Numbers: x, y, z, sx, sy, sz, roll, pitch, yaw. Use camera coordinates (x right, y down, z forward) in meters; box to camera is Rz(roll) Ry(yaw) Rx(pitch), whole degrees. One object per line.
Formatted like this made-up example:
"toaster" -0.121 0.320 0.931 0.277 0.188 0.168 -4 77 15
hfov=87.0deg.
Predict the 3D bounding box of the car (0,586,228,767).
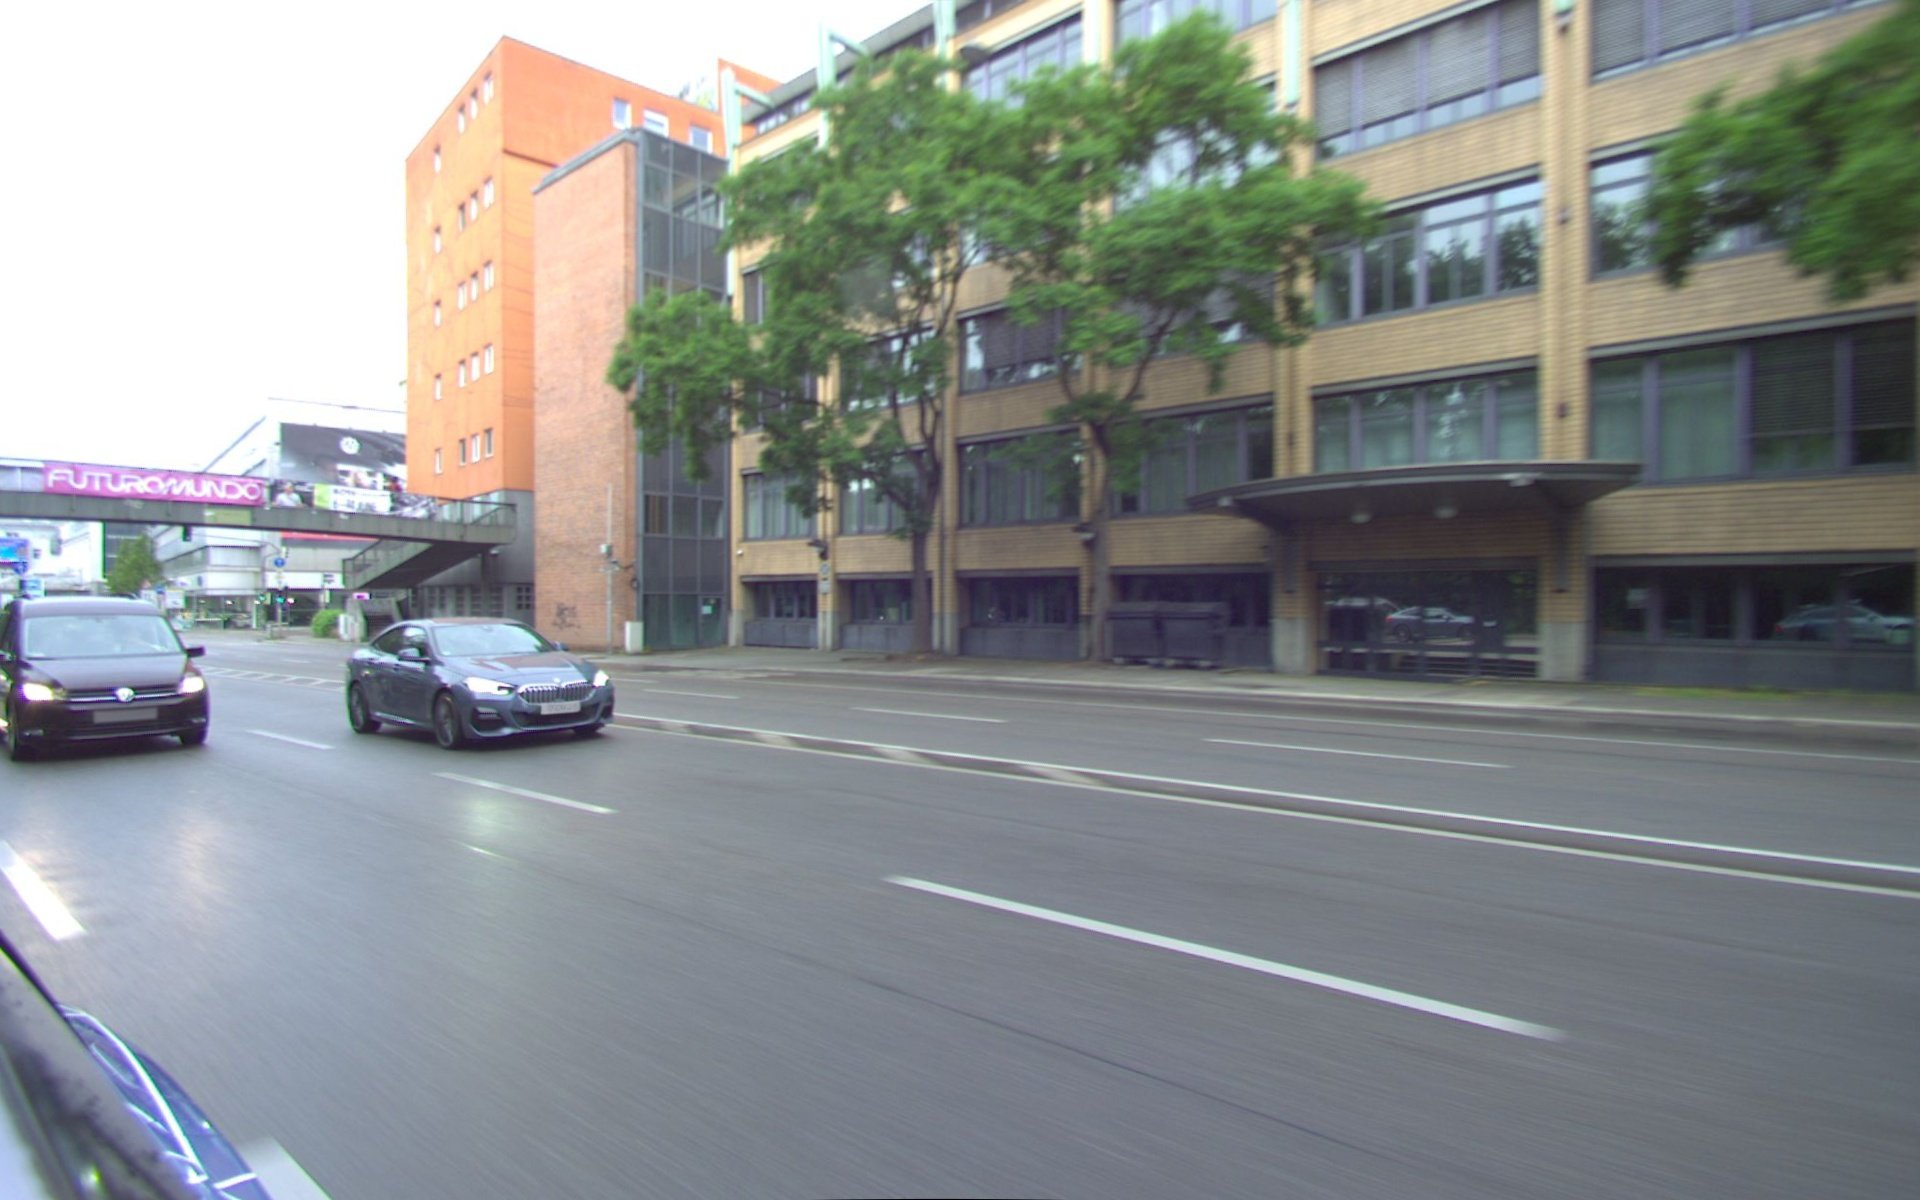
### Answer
"car" -10.405 0.823 12.096 3.998 1.805 1.818 -2 -2 41

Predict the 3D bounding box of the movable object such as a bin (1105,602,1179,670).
"movable object such as a bin" 4.065 0.798 22.643 1.312 1.447 0.964 -2 0 37

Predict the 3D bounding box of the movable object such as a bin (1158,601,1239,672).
"movable object such as a bin" 5.136 0.779 21.815 1.370 1.447 1.058 -2 0 37

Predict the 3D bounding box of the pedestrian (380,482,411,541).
"pedestrian" -22.681 -3.557 40.698 0.737 2.272 0.823 0 -1 35

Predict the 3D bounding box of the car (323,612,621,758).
"car" -6.109 0.922 12.401 4.538 1.425 1.648 -2 0 42
